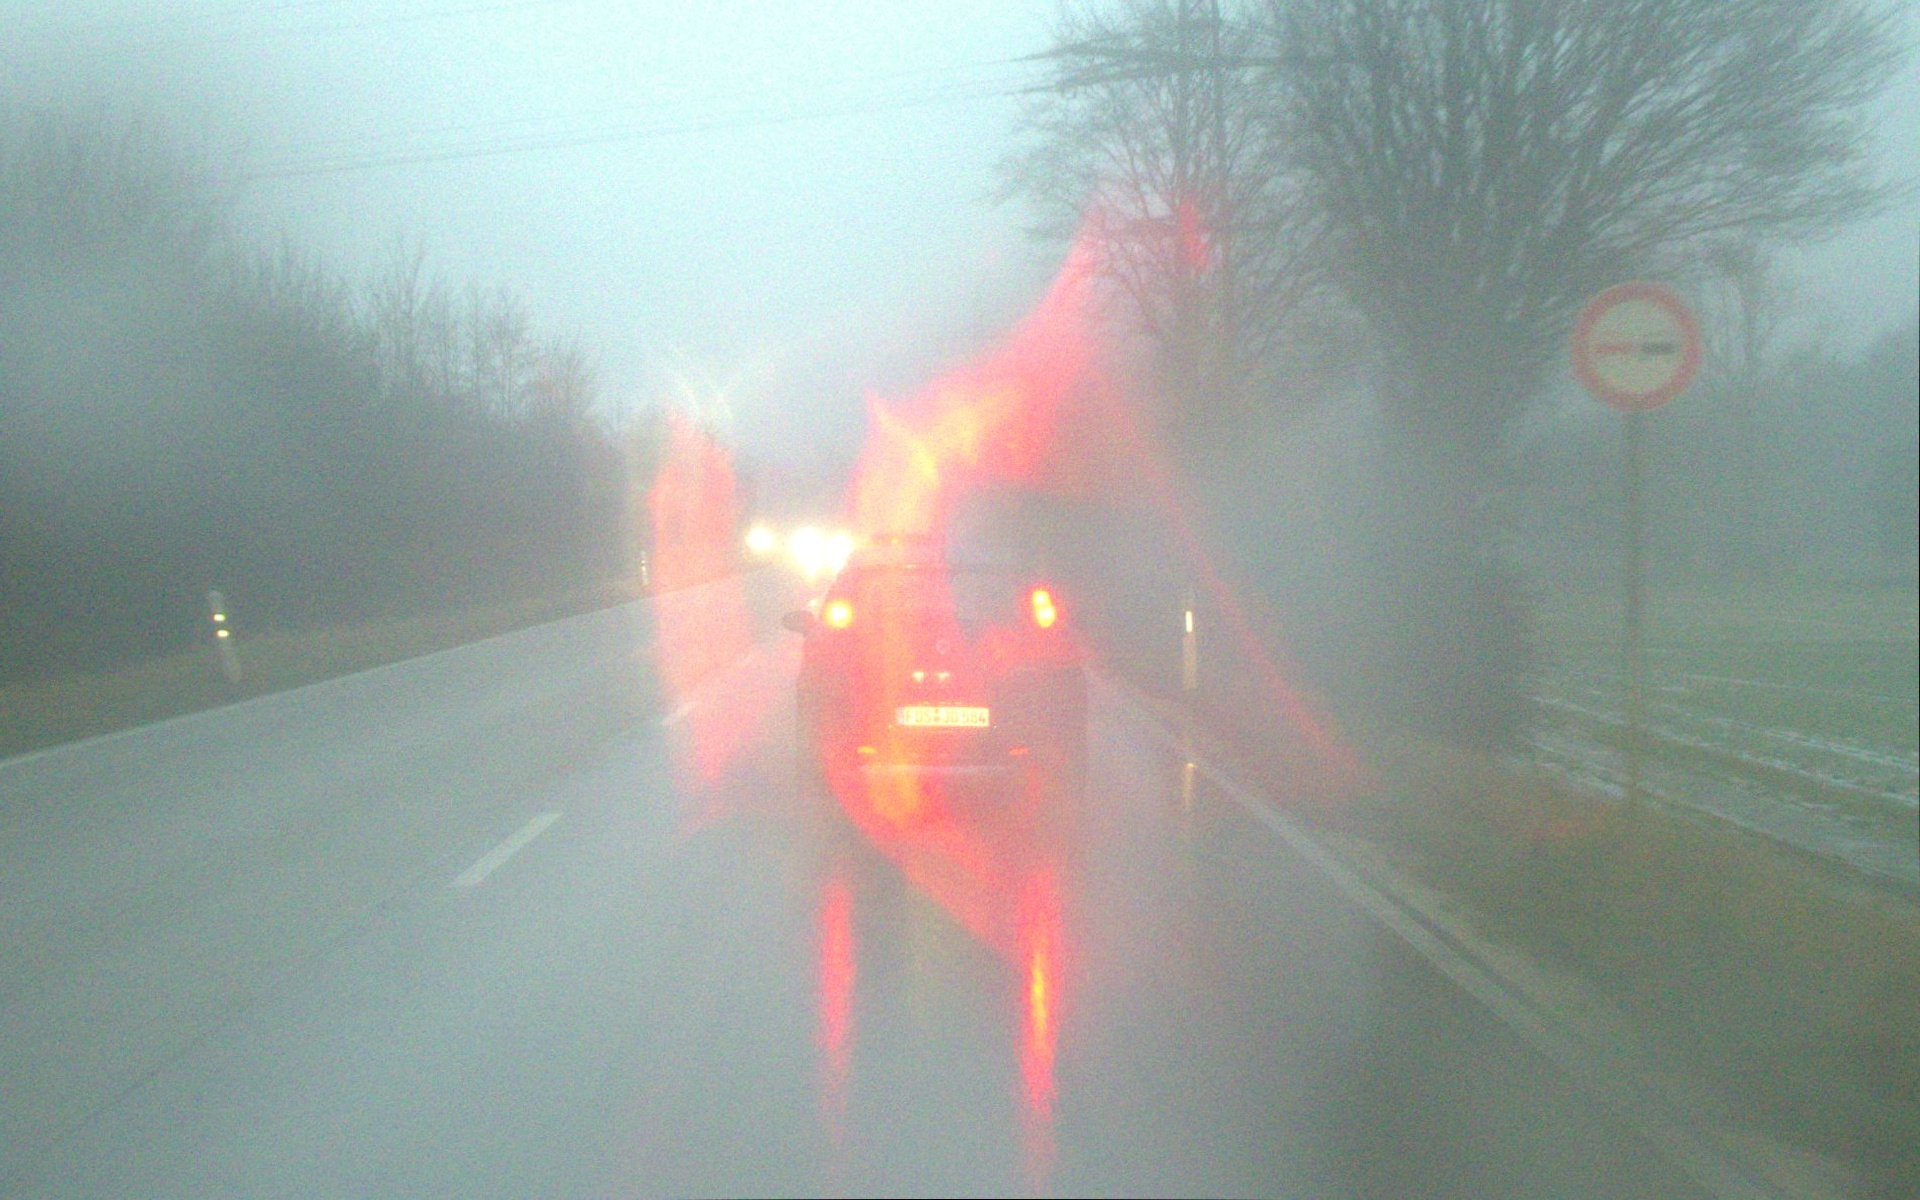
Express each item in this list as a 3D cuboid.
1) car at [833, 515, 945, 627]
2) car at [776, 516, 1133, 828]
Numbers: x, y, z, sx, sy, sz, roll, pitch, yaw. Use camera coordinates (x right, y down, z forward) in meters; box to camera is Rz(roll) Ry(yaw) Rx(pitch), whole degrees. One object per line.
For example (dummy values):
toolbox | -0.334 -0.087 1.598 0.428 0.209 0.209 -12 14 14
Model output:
car | -1.297 -0.549 64.488 1.993 2.007 4.000 -1 1 0
car | -0.064 0.374 21.265 1.993 1.746 4.000 0 1 -1
